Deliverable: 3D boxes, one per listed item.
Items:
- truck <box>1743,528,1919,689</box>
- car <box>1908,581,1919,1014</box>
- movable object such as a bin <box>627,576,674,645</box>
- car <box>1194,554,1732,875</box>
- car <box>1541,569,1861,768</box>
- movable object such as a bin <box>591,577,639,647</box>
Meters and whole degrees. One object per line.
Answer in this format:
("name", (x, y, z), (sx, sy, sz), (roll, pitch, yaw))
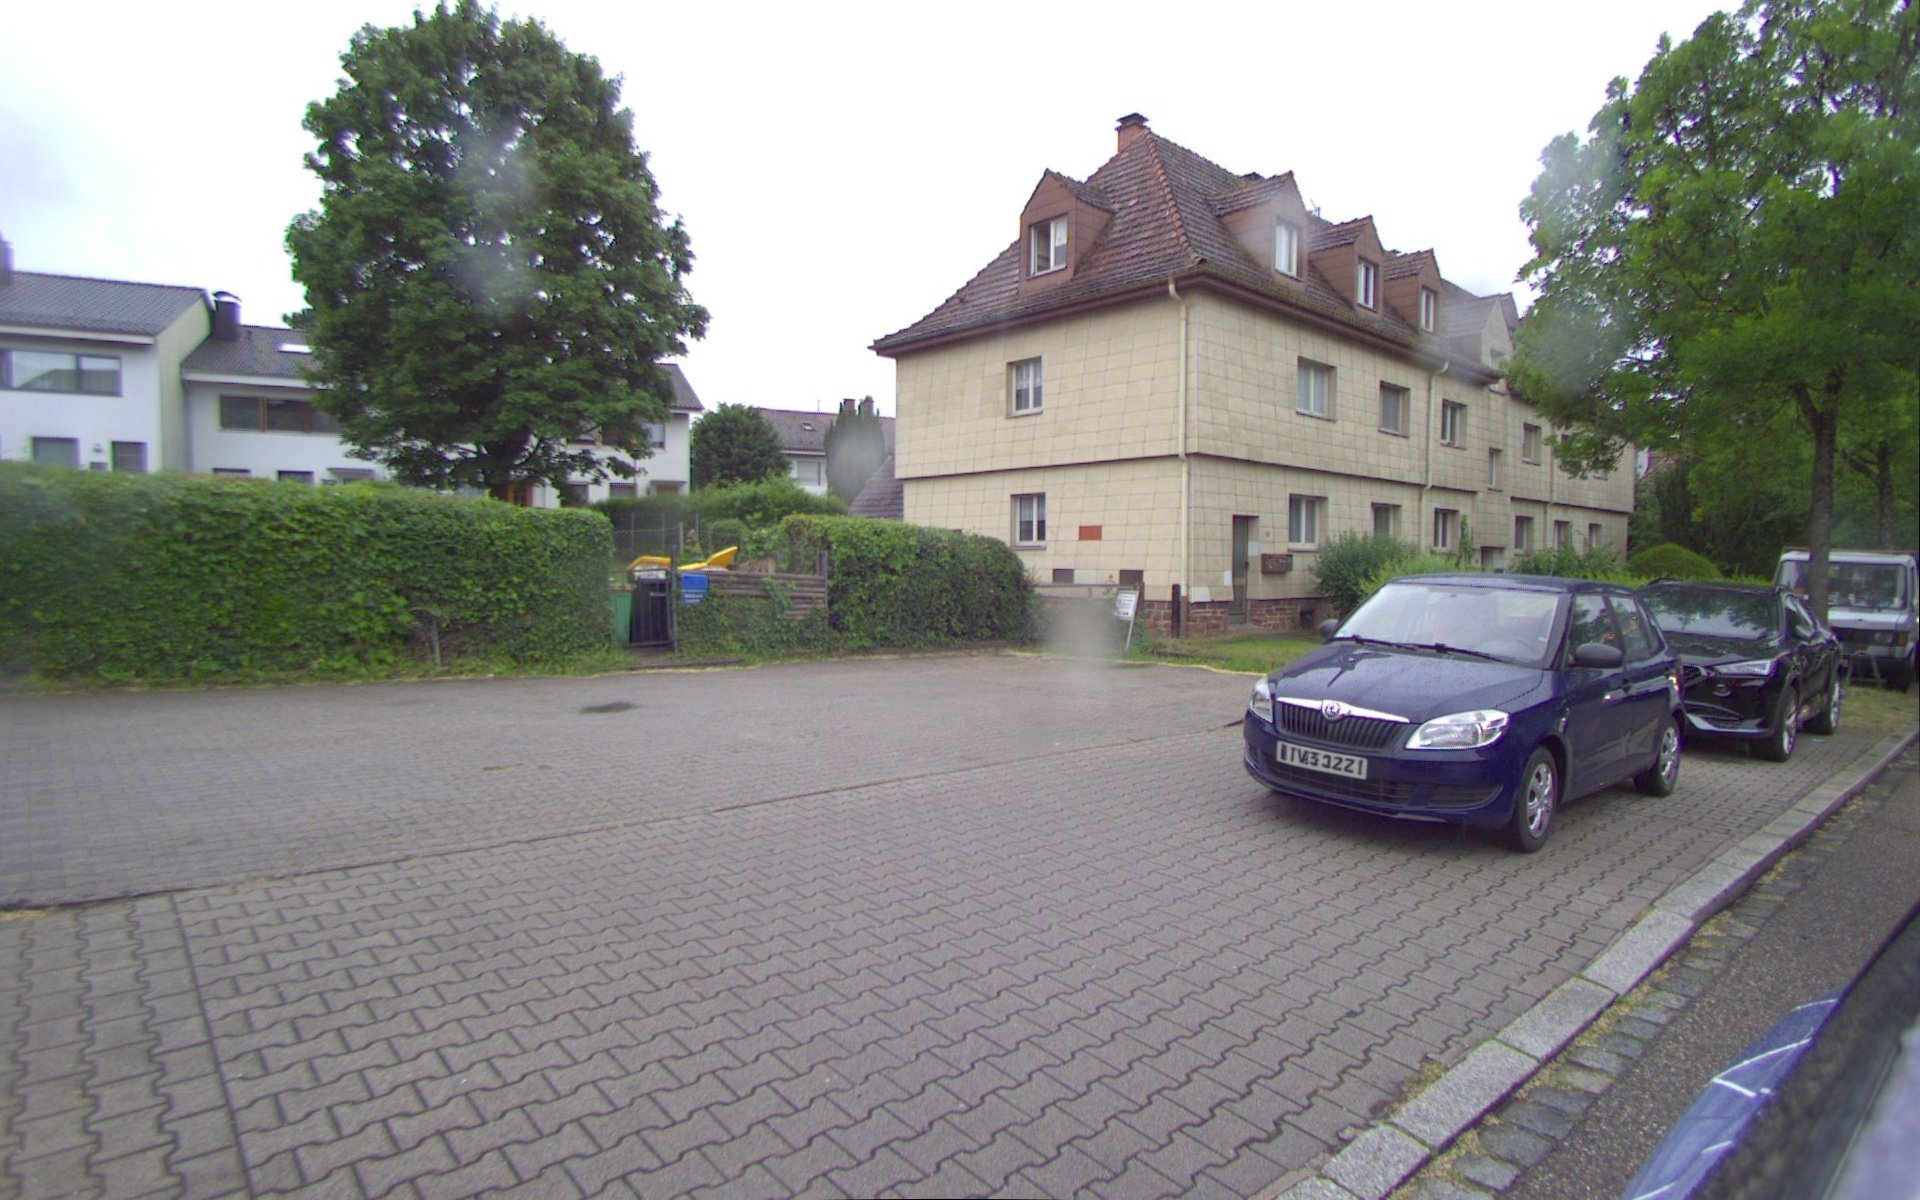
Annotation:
("truck", (14.859, 0.087, 16.602), (5.653, 2.224, 1.998), (0, 2, -40))
("car", (5.629, 0.693, 4.310), (4.240, 1.548, 1.881), (0, -1, -41))
("movable object such as a bin", (-4.411, 0.146, 14.424), (0.441, 0.954, 0.539), (0, 0, -45))
("car", (3.452, 0.484, 6.621), (3.930, 1.441, 1.719), (-1, 4, -41))
("car", (7.324, 0.492, 9.858), (3.932, 1.481, 1.719), (-1, 4, -42))
("movable object such as a bin", (-4.816, 0.164, 14.118), (0.441, 0.954, 0.539), (0, 0, -45))
